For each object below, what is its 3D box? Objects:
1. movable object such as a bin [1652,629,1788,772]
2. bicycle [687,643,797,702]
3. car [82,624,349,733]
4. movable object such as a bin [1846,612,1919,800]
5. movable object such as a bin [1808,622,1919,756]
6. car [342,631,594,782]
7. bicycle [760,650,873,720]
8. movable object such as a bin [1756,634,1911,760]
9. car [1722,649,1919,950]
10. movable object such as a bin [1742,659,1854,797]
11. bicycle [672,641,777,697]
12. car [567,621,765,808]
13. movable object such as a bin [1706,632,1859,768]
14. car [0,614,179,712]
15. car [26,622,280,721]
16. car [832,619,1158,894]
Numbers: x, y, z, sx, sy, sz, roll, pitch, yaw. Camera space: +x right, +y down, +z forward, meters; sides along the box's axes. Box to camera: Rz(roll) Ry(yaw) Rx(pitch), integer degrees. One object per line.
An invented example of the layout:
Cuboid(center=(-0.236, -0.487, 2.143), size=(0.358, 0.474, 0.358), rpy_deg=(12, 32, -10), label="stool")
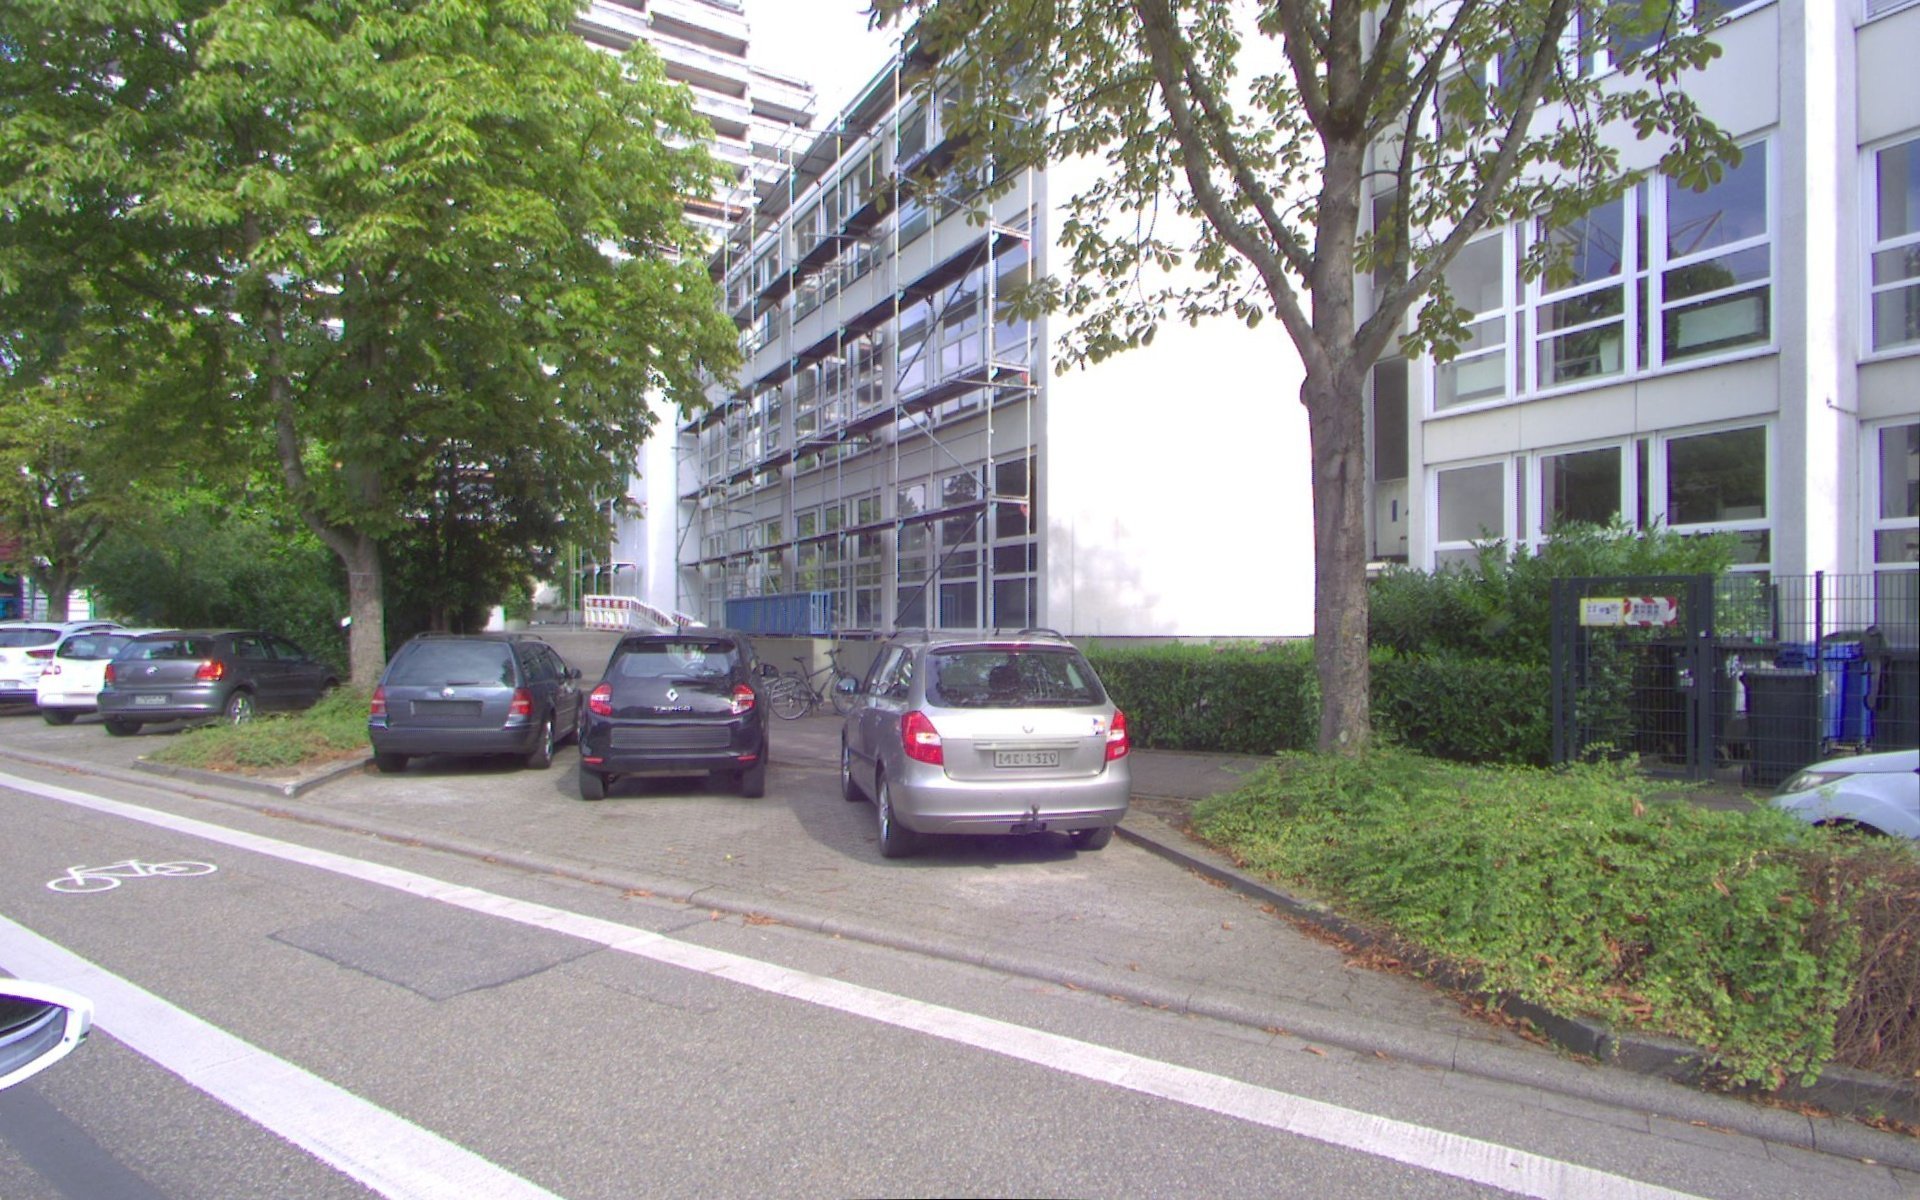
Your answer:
Cuboid(center=(8.080, 1.020, 10.648), size=(1.012, 1.425, 0.906), rpy_deg=(1, -1, -36), label="movable object such as a bin")
Cuboid(center=(-4.108, 1.355, 18.956), size=(1.949, 1.057, 0.591), rpy_deg=(1, -1, -30), label="bicycle")
Cuboid(center=(-11.091, 1.108, 15.265), size=(1.650, 1.438, 3.647), rpy_deg=(0, -2, -6), label="car")
Cuboid(center=(8.601, 0.889, 8.572), size=(1.397, 1.549, 1.322), rpy_deg=(-1, -1, 37), label="movable object such as a bin")
Cuboid(center=(11.569, 1.074, 12.577), size=(1.160, 1.588, 1.171), rpy_deg=(1, -1, -36), label="movable object such as a bin")
Cuboid(center=(-5.517, 1.087, 11.795), size=(1.783, 1.433, 4.166), rpy_deg=(0, -2, -14), label="car")
Cuboid(center=(-2.369, 1.387, 16.602), size=(1.813, 1.057, 0.451), rpy_deg=(0, 0, -29), label="bicycle")
Cuboid(center=(10.386, 1.100, 11.915), size=(1.160, 1.388, 1.171), rpy_deg=(1, -1, -36), label="movable object such as a bin")
Cuboid(center=(5.571, 0.942, 4.025), size=(1.604, 1.411, 3.858), rpy_deg=(1, -2, -13), label="car")
Cuboid(center=(7.464, 1.108, 8.956), size=(0.734, 1.119, 0.781), rpy_deg=(0, -1, 38), label="movable object such as a bin")
Cuboid(center=(-4.628, 1.337, 19.691), size=(1.944, 1.057, 0.593), rpy_deg=(1, -1, -20), label="bicycle")
Cuboid(center=(-2.812, 1.012, 10.199), size=(1.566, 1.557, 3.416), rpy_deg=(1, -1, -10), label="car")
Cuboid(center=(9.241, 1.073, 11.262), size=(1.050, 1.409, 1.111), rpy_deg=(1, -1, -36), label="movable object such as a bin")
Cuboid(center=(-16.288, 1.103, 18.378), size=(1.651, 1.623, 3.644), rpy_deg=(0, -2, -12), label="car")
Cuboid(center=(-13.430, 1.136, 16.967), size=(1.650, 1.493, 3.647), rpy_deg=(0, -2, -6), label="car")
Cuboid(center=(-0.018, 0.959, 7.824), size=(1.566, 1.557, 4.049), rpy_deg=(1, -2, -13), label="car")
